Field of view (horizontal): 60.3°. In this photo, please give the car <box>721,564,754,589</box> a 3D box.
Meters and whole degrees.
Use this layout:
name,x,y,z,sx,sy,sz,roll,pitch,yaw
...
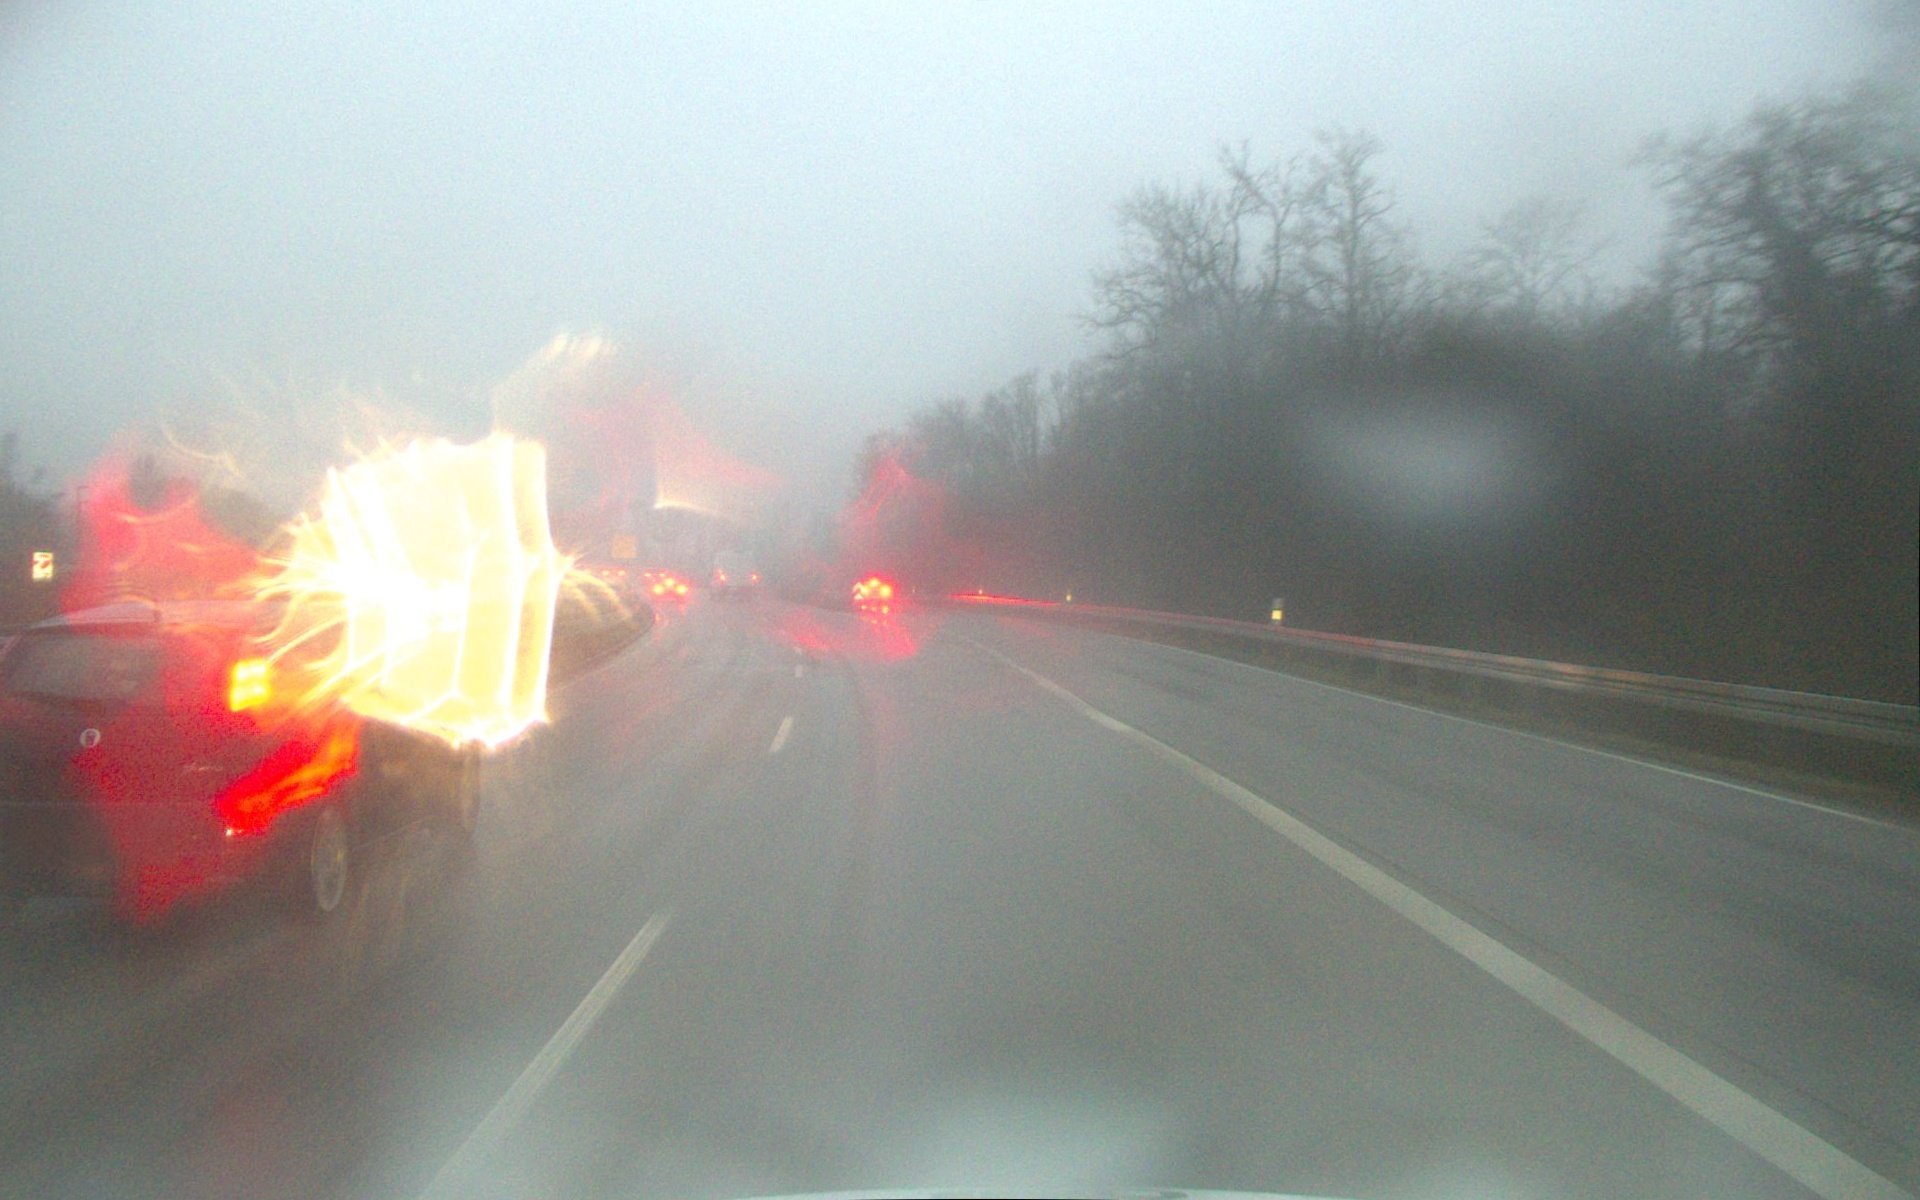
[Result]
name,x,y,z,sx,sy,sz,roll,pitch,yaw
car,-12.520,-1.308,93.210,1.387,1.340,3.083,2,0,1

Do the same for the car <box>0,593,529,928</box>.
name,x,y,z,sx,sy,sz,roll,pitch,yaw
car,-3.597,0.719,9.195,1.594,1.416,3.996,2,-1,-5

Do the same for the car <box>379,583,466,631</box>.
name,x,y,z,sx,sy,sz,roll,pitch,yaw
car,-20.038,0.225,61.833,1.757,1.713,4.688,0,0,-1
